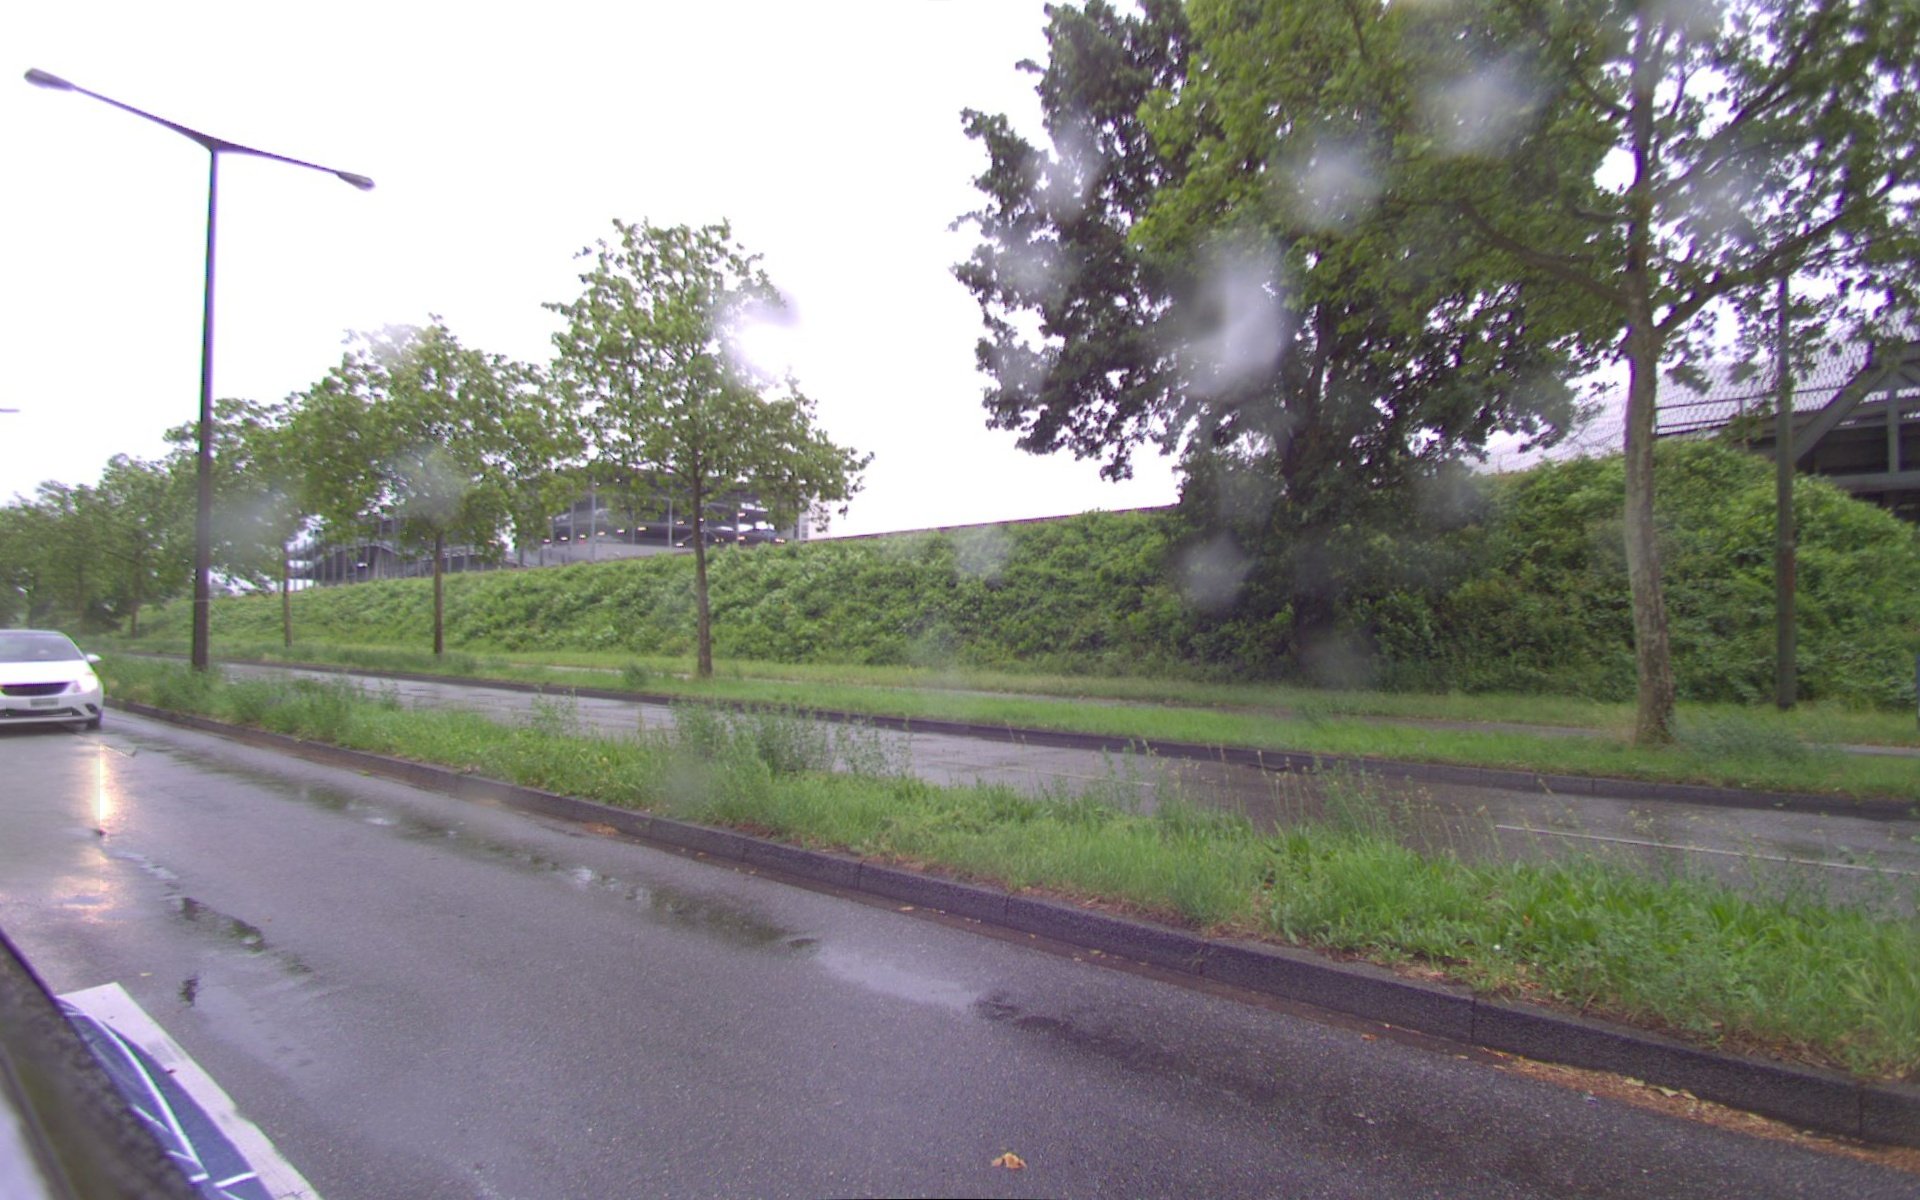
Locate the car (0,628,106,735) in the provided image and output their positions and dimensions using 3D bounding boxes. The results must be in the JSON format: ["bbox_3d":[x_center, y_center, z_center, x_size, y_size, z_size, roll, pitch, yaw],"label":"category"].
[{"bbox_3d":[-14.177,1.148,15.051,4.008,1.387,1.661,-2,-1,41],"label":"car"}]
